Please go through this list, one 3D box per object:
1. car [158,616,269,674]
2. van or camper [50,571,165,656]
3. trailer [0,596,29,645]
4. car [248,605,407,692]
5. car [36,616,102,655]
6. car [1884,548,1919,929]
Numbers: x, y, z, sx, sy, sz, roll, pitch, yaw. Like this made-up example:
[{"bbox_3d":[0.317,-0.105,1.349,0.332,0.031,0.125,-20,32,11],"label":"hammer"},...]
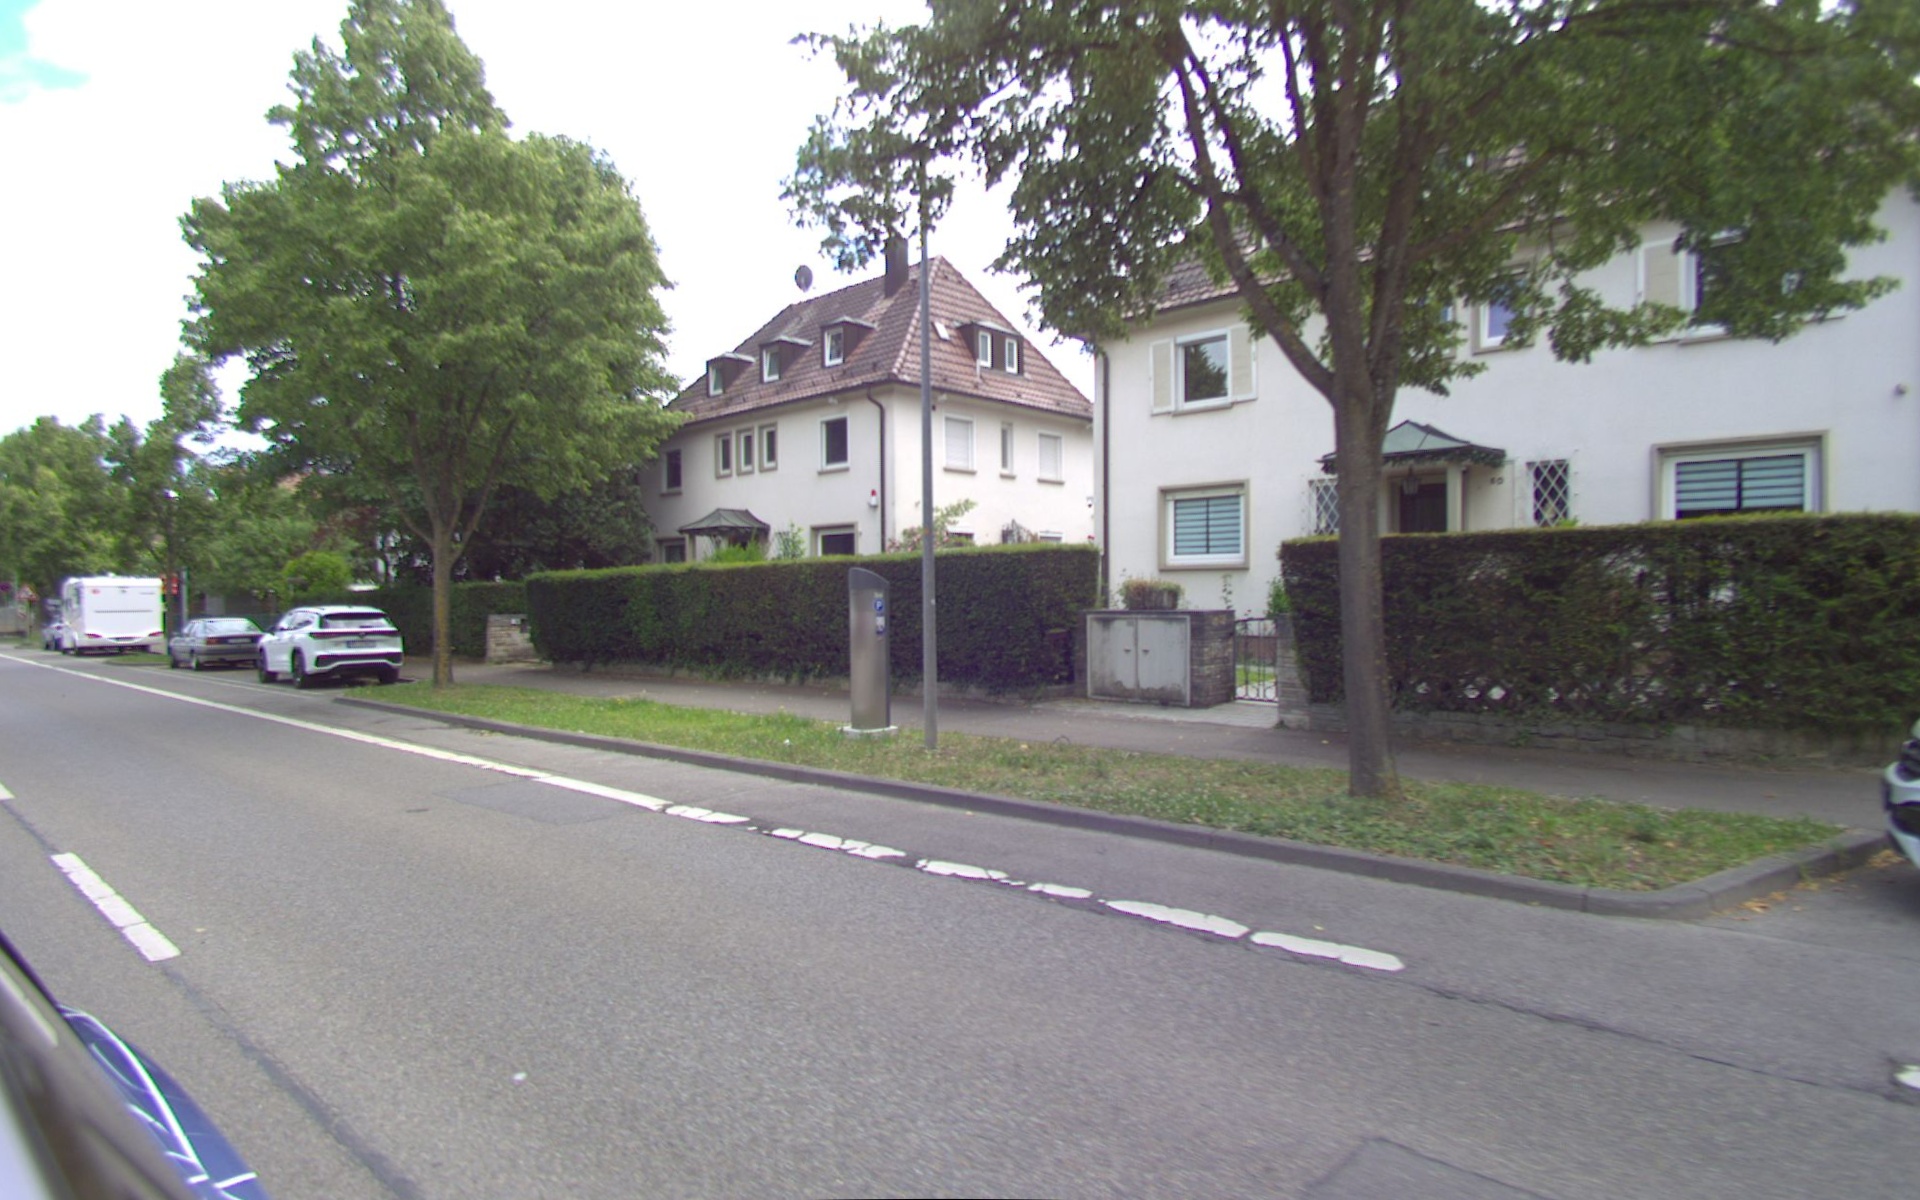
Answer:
[{"bbox_3d":[-21.107,1.221,28.544,4.448,1.481,1.540,-1,0,40],"label":"car"},{"bbox_3d":[-33.096,0.524,39.173,7.691,3.032,2.409,-1,-1,42],"label":"van or camper"},{"bbox_3d":[-61.247,1.282,64.011,7.472,2.963,2.646,0,1,41],"label":"trailer"},{"bbox_3d":[-13.734,0.978,21.850,4.699,1.664,1.797,-1,0,44],"label":"car"},{"bbox_3d":[-39.418,1.524,44.743,4.271,1.612,1.704,-1,0,42],"label":"car"},{"bbox_3d":[6.673,0.585,3.642,4.864,1.701,1.854,-1,-1,42],"label":"car"}]
